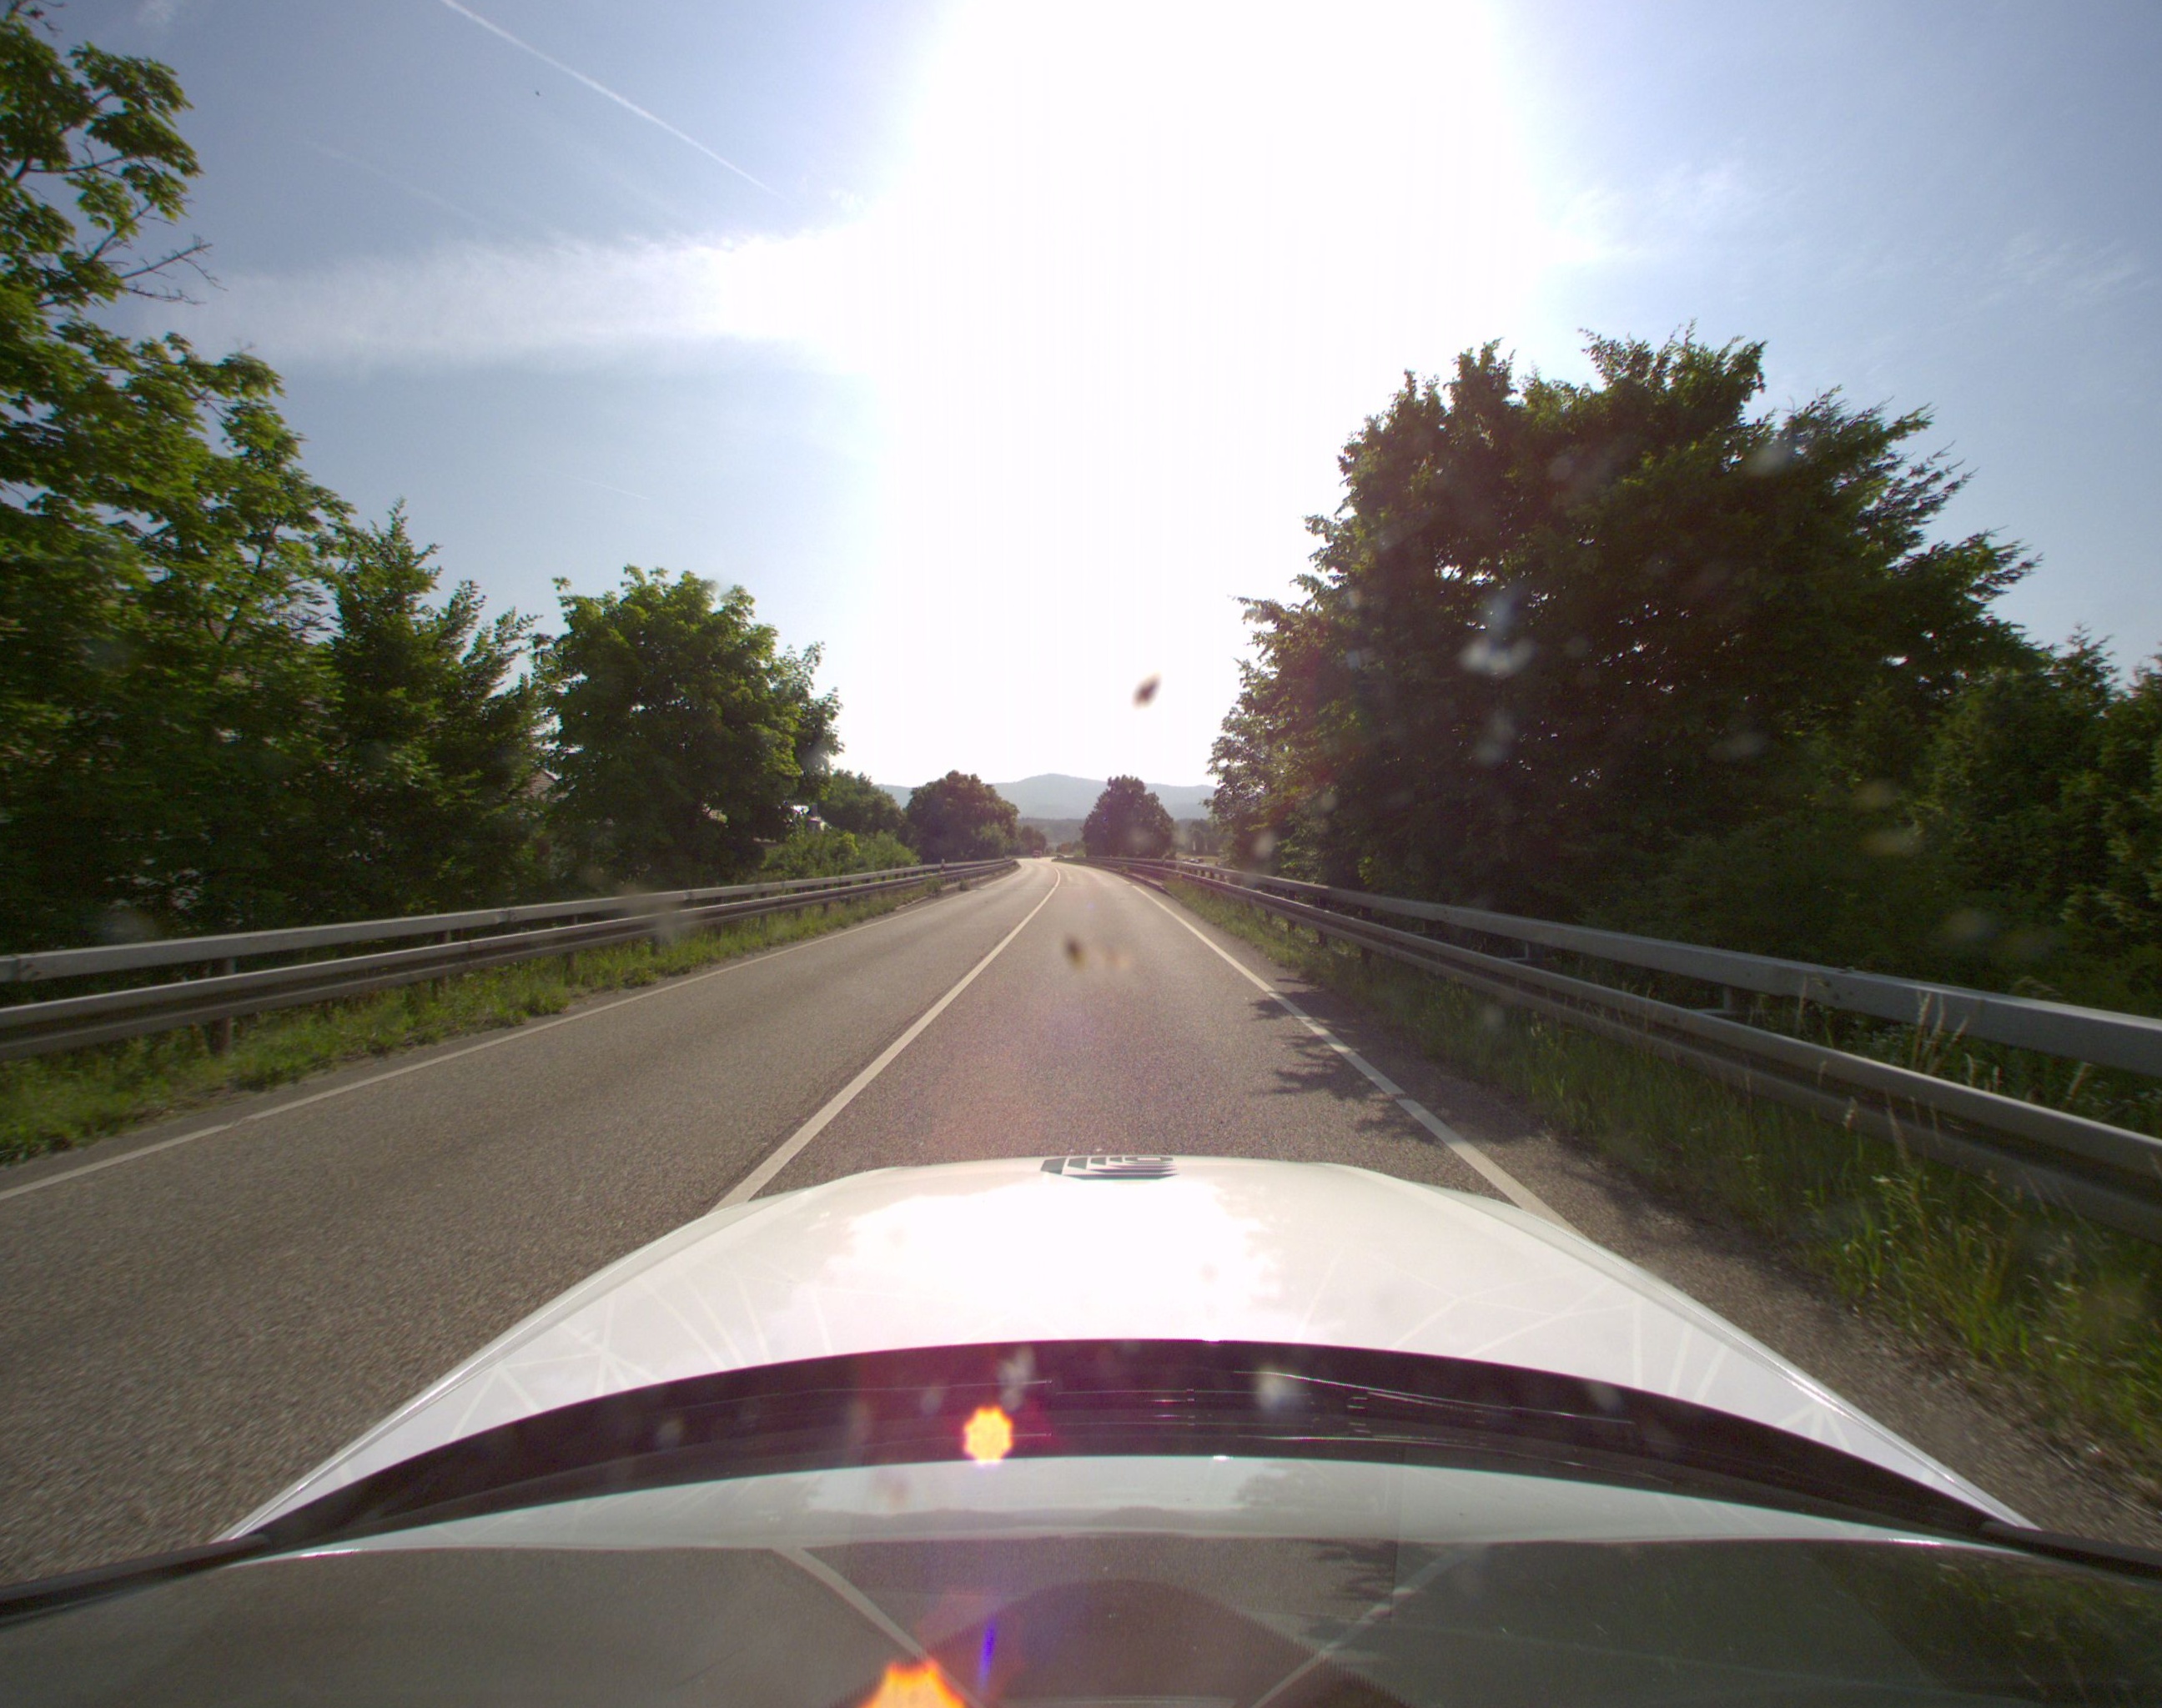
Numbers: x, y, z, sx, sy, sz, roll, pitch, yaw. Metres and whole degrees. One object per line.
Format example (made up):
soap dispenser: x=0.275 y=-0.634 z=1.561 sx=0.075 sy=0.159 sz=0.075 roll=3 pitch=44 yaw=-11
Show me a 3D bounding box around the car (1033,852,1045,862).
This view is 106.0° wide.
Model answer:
car: x=-13.269 y=0.927 z=256.353 sx=3.167 sy=2.639 sz=8.385 roll=4 pitch=0 yaw=-5
